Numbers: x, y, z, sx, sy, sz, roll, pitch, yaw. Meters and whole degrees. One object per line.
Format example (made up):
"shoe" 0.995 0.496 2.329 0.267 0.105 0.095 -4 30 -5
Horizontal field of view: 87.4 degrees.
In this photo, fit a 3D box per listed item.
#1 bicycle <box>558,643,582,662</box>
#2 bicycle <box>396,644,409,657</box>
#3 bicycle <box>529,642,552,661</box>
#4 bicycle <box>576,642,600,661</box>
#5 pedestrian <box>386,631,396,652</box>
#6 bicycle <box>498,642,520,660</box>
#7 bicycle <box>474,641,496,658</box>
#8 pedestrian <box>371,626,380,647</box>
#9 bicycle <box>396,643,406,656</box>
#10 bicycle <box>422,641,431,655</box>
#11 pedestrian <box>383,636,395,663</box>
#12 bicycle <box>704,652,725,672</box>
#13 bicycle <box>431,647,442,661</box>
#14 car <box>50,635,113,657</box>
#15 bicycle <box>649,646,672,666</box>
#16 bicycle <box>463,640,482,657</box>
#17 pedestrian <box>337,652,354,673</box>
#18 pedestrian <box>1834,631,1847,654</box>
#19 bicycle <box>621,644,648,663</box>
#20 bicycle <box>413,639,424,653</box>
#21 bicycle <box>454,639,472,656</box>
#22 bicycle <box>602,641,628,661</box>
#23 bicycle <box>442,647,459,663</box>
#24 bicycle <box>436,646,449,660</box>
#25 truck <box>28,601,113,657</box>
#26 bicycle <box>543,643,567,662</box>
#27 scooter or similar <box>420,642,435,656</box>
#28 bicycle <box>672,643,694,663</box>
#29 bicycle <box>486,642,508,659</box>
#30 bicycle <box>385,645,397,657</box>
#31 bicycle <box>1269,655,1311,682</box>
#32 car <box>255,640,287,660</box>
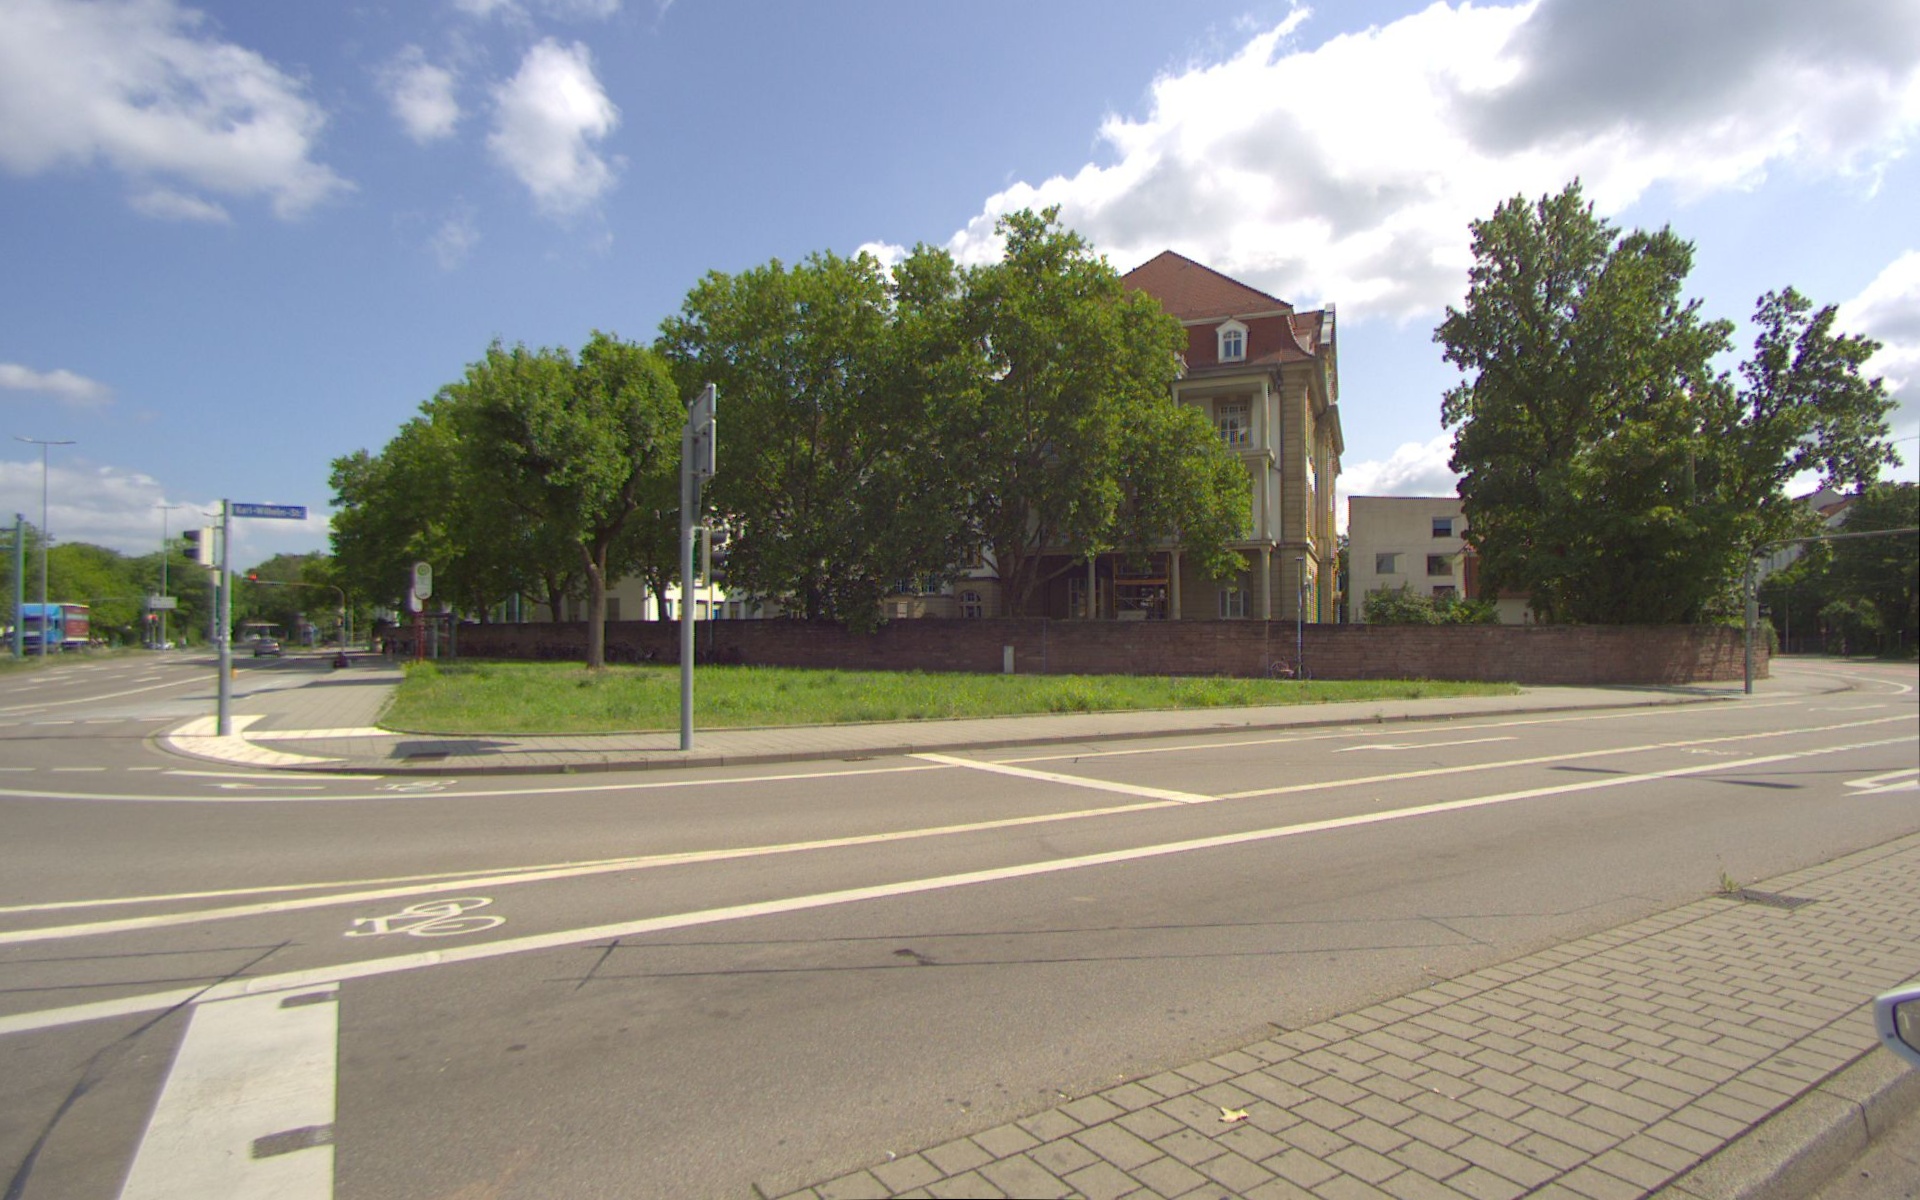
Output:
"bicycle" -22.737 3.029 58.528 1.606 1.087 0.581 -2 -2 39
"bicycle" -45.327 4.082 81.606 0.588 1.062 1.860 1 -2 -39
"bicycle" -25.321 3.100 60.628 1.606 1.087 0.581 -2 -2 39
"bicycle" -21.347 2.955 57.634 1.606 1.087 0.581 -2 -2 39
"pedestrian" -45.368 3.319 80.099 0.636 1.673 0.724 1 -2 -35
"bicycle" -28.393 3.213 63.214 1.729 1.087 0.581 -2 -2 39
"bicycle" -31.035 3.205 65.638 1.729 1.087 0.581 -2 -2 39
"pedestrian" -48.476 3.033 83.318 0.556 1.673 0.720 1 -2 -35
"bicycle" -46.472 4.143 83.513 0.368 1.062 1.860 1 -2 -39
"bicycle" -38.284 3.423 72.141 0.362 0.968 1.617 0 -2 -21
"pedestrian" -34.686 2.984 61.023 0.650 1.631 0.739 -1 -1 -29
"bicycle" -12.516 3.147 51.213 1.236 1.024 0.352 -2 -2 40
"bicycle" -38.178 3.932 73.240 0.365 0.968 1.383 1 -2 -45
"car" -81.875 4.260 93.636 3.924 2.040 1.999 0 -2 -5
"bicycle" -15.912 2.967 53.346 1.434 1.024 0.470 -2 -2 40
"bicycle" -32.535 3.215 66.971 1.731 1.087 0.581 -2 -2 44
"pedestrian" -29.876 3.018 48.853 0.688 0.975 0.737 0 -2 -31
"pedestrian" 79.503 3.837 90.717 0.685 2.040 0.895 0 -1 26
"bicycle" -17.754 2.895 54.757 1.934 1.024 0.470 -2 -2 40
"bicycle" -41.045 3.508 76.173 0.392 1.062 1.860 1 -2 -39
"bicycle" -33.845 3.234 68.393 1.732 1.087 0.580 -2 -2 45
"bicycle" -19.222 2.830 55.980 1.844 1.087 0.581 -2 -2 43
"bicycle" -35.733 3.842 70.420 1.732 1.087 0.580 -2 -2 45
"bicycle" -37.161 3.808 72.071 0.369 0.968 1.605 1 -2 -45
"truck" -64.631 2.145 73.209 2.634 3.849 9.121 0 -2 -29
"bicycle" -24.029 3.092 59.591 1.606 1.087 0.581 -2 -2 39
"scooter or similar" -39.561 3.631 74.614 0.577 1.062 1.860 1 -2 -39
"bicycle" -14.442 2.743 52.336 1.349 1.024 0.390 -2 -2 40
"bicycle" -29.724 3.224 64.437 1.729 1.087 0.581 -2 -2 39
"bicycle" -49.530 4.439 87.473 0.626 1.062 1.860 1 -2 -39
"bicycle" 12.736 2.632 38.772 1.492 1.005 0.394 0 -1 13
"car" -54.012 3.911 78.823 1.686 1.464 4.113 2 -3 -30
